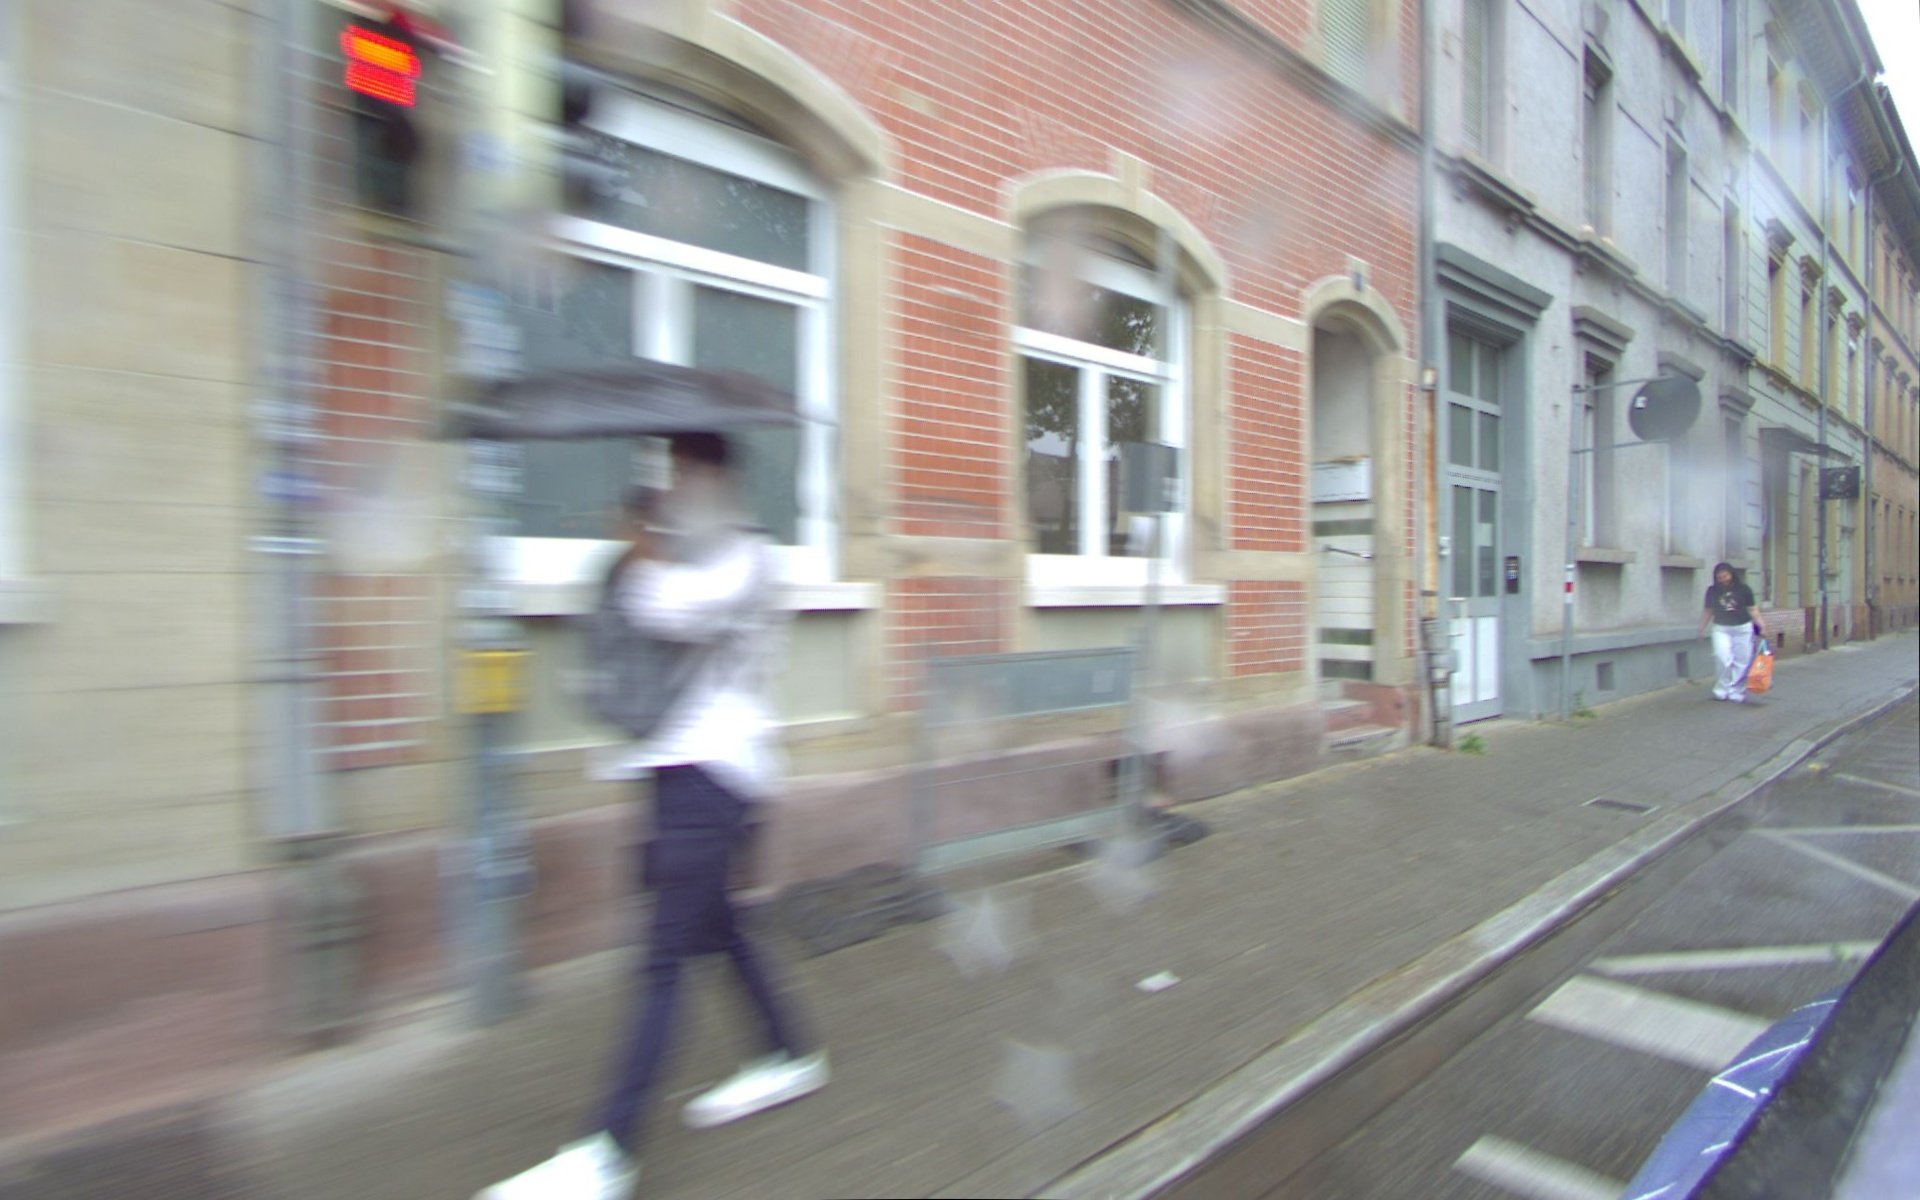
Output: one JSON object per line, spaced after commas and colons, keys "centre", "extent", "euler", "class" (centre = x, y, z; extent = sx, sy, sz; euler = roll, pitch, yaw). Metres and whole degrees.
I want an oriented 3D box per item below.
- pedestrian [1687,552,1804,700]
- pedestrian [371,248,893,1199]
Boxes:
{"centre": [9.054, 0.277, 11.681], "extent": [0.566, 1.592, 0.849], "euler": [0, 5, -40], "class": "pedestrian"}
{"centre": [-0.780, 0.332, 2.376], "extent": [0.913, 1.936, 0.786], "euler": [-1, 4, -41], "class": "pedestrian"}
